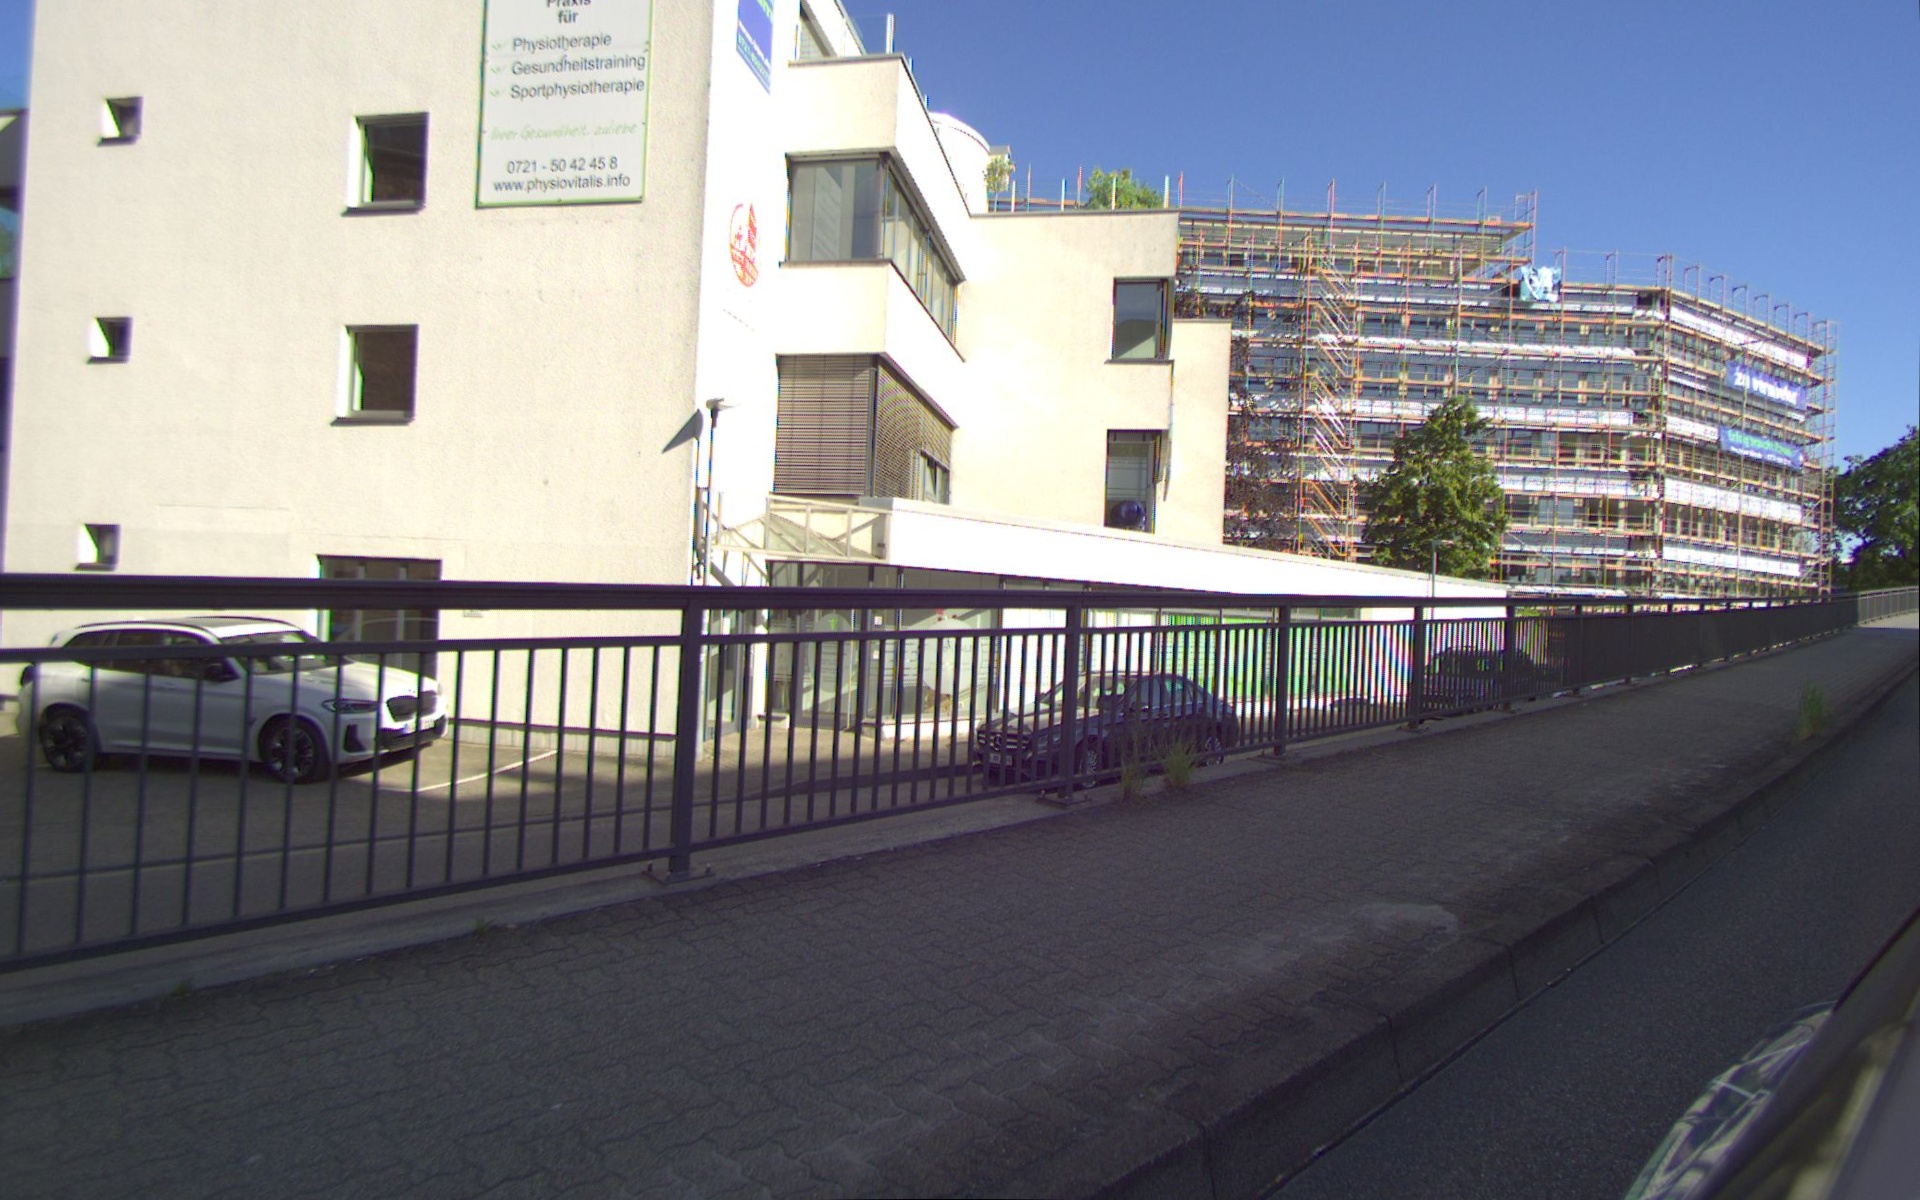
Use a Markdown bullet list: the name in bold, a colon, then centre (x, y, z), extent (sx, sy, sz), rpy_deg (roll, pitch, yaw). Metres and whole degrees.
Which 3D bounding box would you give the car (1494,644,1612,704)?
- **car**: centre (16.087, 1.952, 27.391), extent (3.932, 1.410, 1.723), rpy_deg (2, -1, -43)

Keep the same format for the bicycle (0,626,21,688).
- **bicycle**: centre (-17.252, 1.006, 17.159), extent (0.655, 1.065, 1.916), rpy_deg (2, 1, 11)

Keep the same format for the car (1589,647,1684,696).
- **car**: centre (22.150, 2.283, 33.078), extent (3.932, 1.410, 1.723), rpy_deg (2, -1, -43)

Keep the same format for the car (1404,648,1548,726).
- **car**: centre (11.995, 1.929, 23.429), extent (3.932, 1.541, 1.723), rpy_deg (2, -1, -43)

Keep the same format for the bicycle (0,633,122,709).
- **bicycle**: centre (-14.853, 1.116, 16.425), extent (0.655, 1.065, 1.916), rpy_deg (2, 1, 11)

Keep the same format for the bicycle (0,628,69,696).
- **bicycle**: centre (-16.332, 1.057, 17.082), extent (0.655, 1.065, 1.916), rpy_deg (2, 1, 11)

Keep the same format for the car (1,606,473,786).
- **car**: centre (-8.353, 1.018, 11.891), extent (4.454, 1.707, 1.840), rpy_deg (2, 0, 8)

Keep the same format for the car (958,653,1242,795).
- **car**: centre (2.017, 1.572, 13.932), extent (3.930, 1.541, 1.724), rpy_deg (2, -1, -41)
